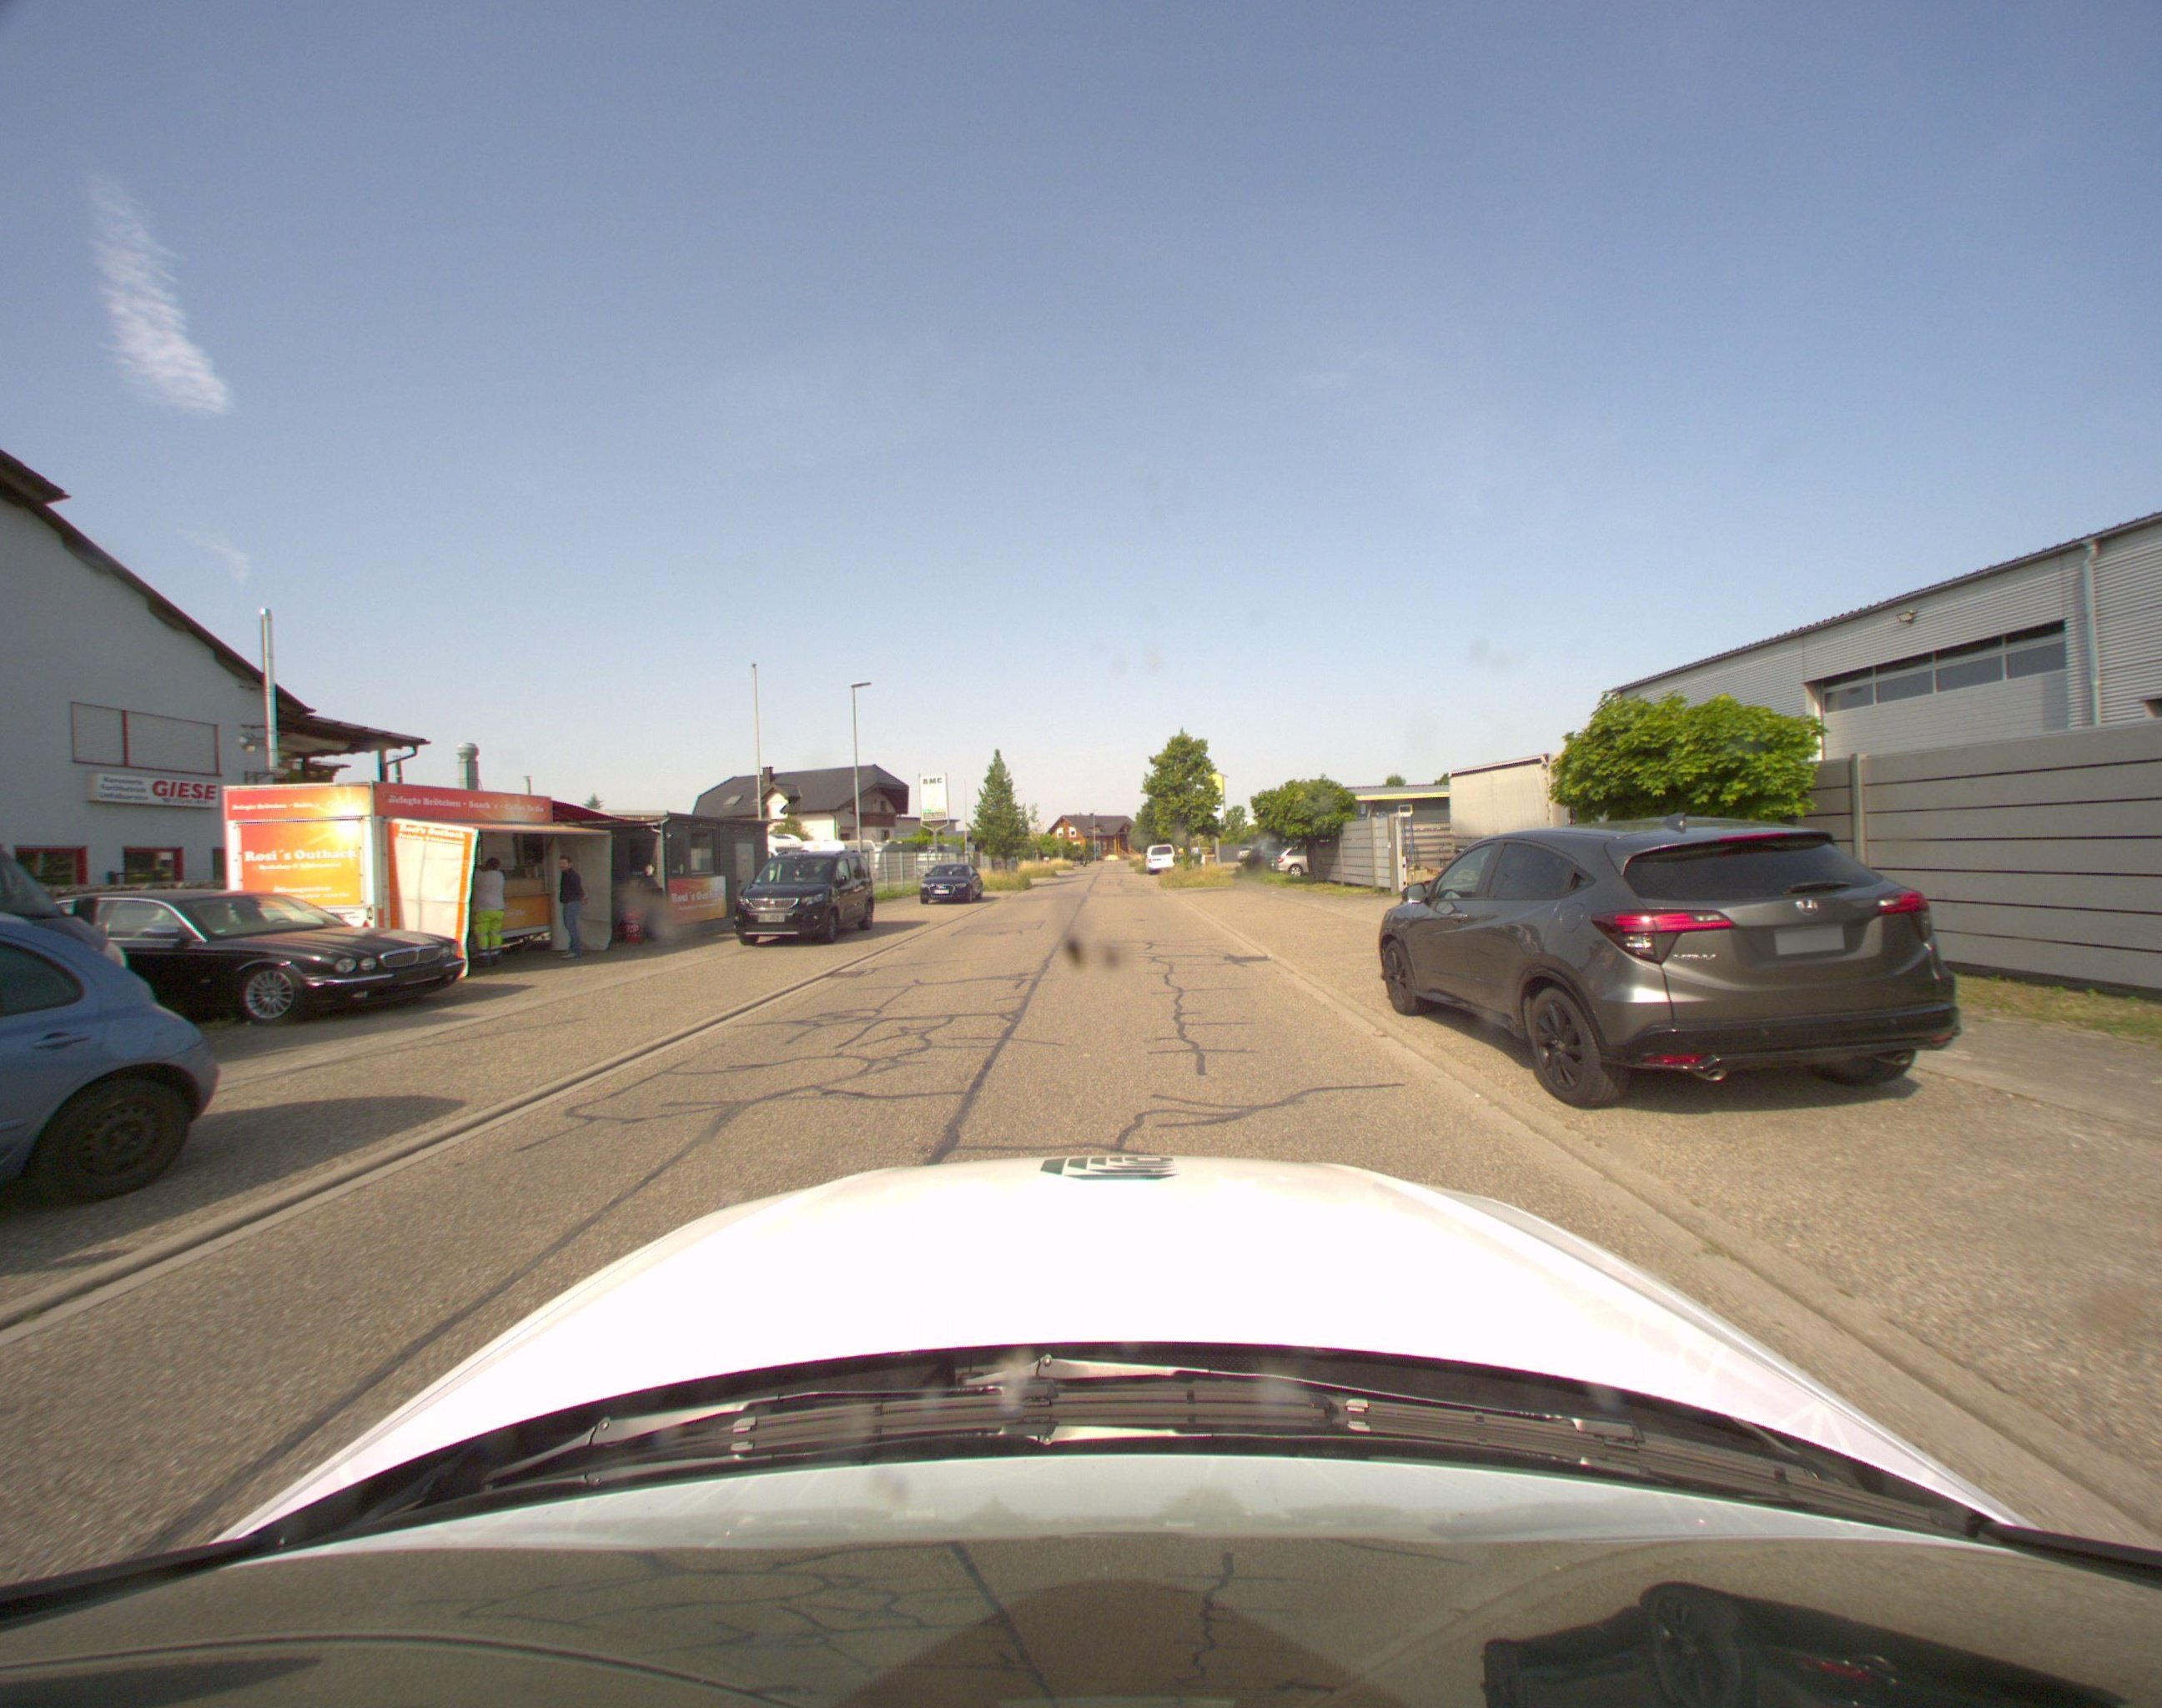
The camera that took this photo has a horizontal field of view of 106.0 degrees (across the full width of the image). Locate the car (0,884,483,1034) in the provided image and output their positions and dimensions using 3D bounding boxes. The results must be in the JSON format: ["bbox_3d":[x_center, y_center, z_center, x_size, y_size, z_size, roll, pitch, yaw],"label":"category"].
[{"bbox_3d":[-9.308,1.113,9.298,3.578,1.414,1.761,-1,0,-2],"label":"car"}]

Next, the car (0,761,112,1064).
[{"bbox_3d":[-10.968,0.595,6.309,4.606,2.416,2.002,-3,0,4],"label":"car"}]

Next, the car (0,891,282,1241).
[{"bbox_3d":[-5.720,0.992,3.103,1.625,1.517,3.610,-1,0,5],"label":"car"}]

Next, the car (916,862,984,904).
[{"bbox_3d":[-4.703,1.014,29.743,1.793,1.386,3.639,-1,0,1],"label":"car"}]

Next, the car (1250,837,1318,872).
[{"bbox_3d":[10.092,0.019,40.660,3.123,1.580,1.396,-3,0,10],"label":"car"}]

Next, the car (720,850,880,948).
[{"bbox_3d":[-5.714,0.831,17.145,1.793,1.774,4.204,-1,0,1],"label":"car"}]

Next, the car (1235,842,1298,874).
[{"bbox_3d":[9.731,0.210,42.955,3.123,1.521,1.396,-3,0,10],"label":"car"}]

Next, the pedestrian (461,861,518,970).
[{"bbox_3d":[-9.534,0.972,13.135,0.406,1.687,0.541,-3,0,5],"label":"pedestrian"}]

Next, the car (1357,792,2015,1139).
[{"bbox_3d":[3.573,0.532,5.903,1.788,1.560,4.001,-3,0,1],"label":"car"}]

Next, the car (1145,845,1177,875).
[{"bbox_3d":[5.450,0.386,55.685,1.830,1.924,3.758,-3,0,2],"label":"car"}]

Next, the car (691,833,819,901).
[{"bbox_3d":[-13.868,0.540,34.676,4.761,2.586,2.157,-3,0,22],"label":"car"}]

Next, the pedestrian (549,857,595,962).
[{"bbox_3d":[-8.658,0.928,13.858,0.566,1.715,0.528,-3,0,-36],"label":"pedestrian"}]

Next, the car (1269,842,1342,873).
[{"bbox_3d":[10.514,0.169,38.252,3.123,1.266,1.396,-3,0,10],"label":"car"}]

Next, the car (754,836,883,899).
[{"bbox_3d":[-12.212,0.617,38.008,5.112,2.586,2.591,-3,0,22],"label":"car"}]
